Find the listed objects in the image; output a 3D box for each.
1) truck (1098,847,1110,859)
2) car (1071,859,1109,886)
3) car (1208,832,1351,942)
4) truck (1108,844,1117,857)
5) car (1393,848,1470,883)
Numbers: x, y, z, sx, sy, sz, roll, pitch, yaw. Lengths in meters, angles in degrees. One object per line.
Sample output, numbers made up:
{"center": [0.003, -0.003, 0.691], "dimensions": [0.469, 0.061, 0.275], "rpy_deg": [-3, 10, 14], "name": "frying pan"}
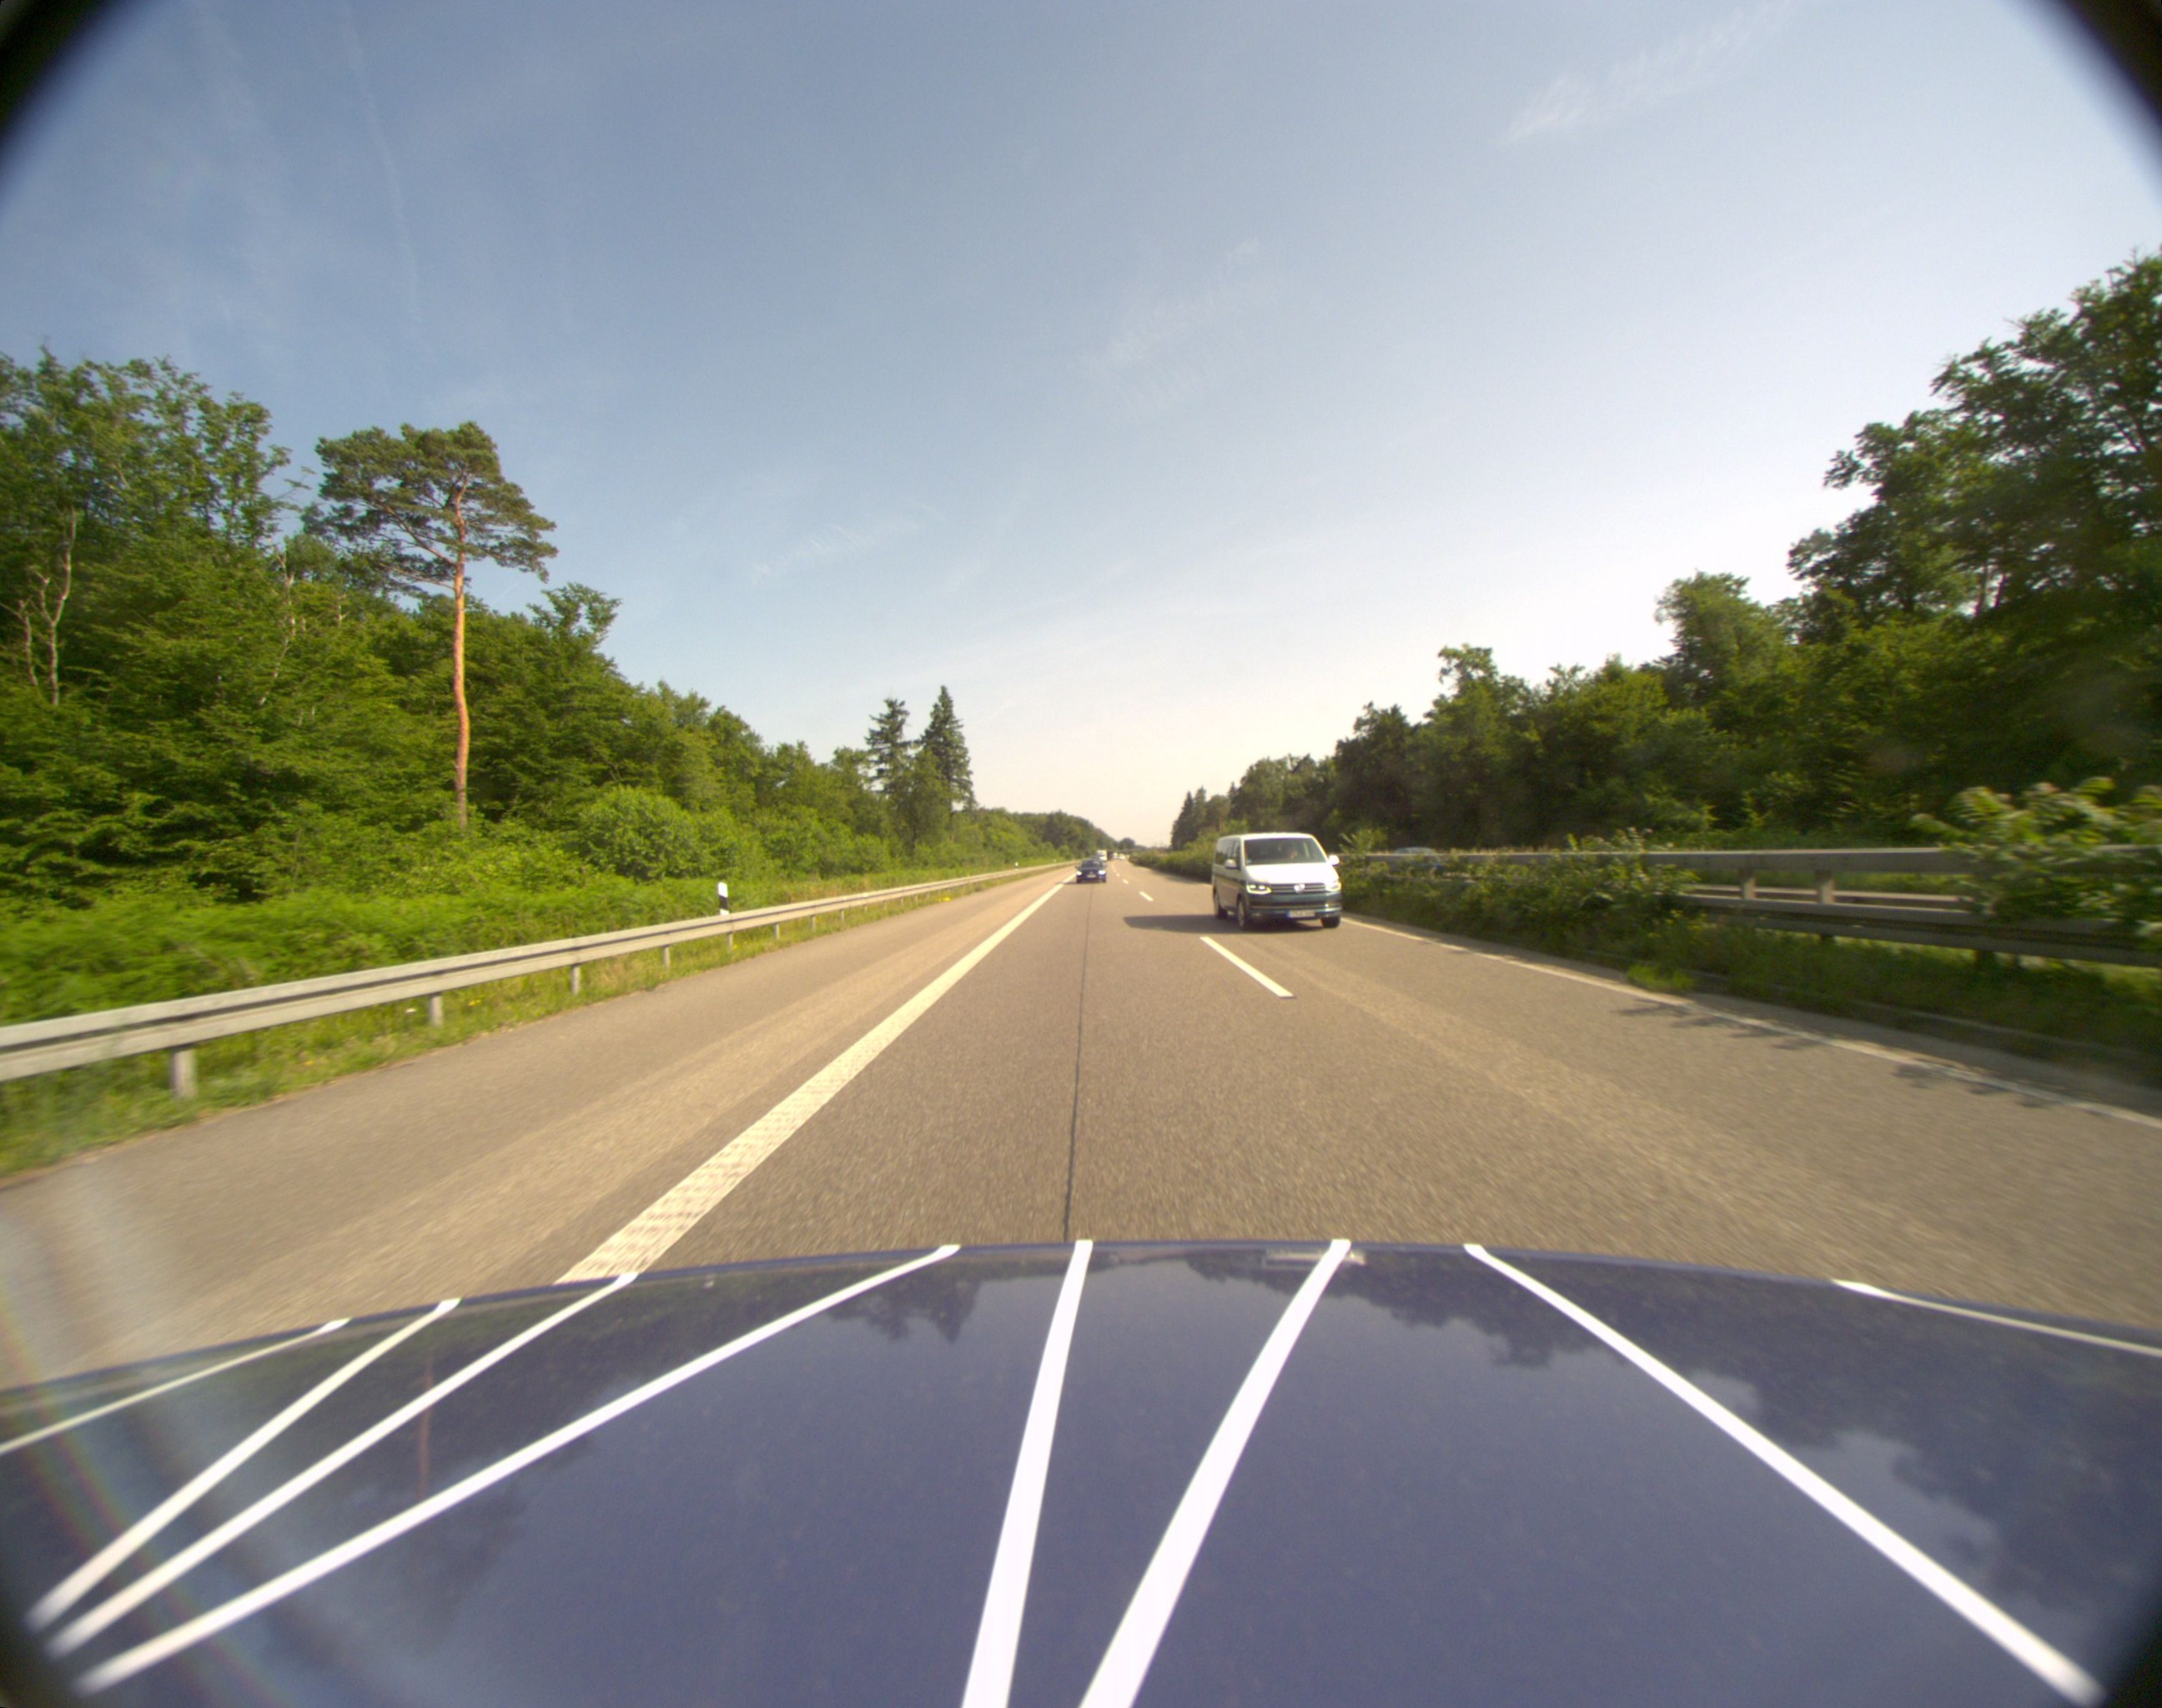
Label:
{"center": [5.936, -0.253, 194.910], "dimensions": [2.694, 3.020, 10.374], "rpy_deg": [-2, 0, 3], "name": "truck"}
{"center": [0.539, 0.980, 40.875], "dimensions": [1.788, 1.285, 3.539], "rpy_deg": [-2, 0, 4], "name": "car"}
{"center": [4.031, 0.595, 16.266], "dimensions": [1.912, 1.934, 4.707], "rpy_deg": [-2, 0, 2], "name": "car"}
{"center": [10.648, -1.123, 257.567], "dimensions": [2.694, 4.061, 12.367], "rpy_deg": [-2, 0, 3], "name": "truck"}
{"center": [15.845, 0.484, 34.575], "dimensions": [1.628, 1.463, 4.211], "rpy_deg": [-2, 0, 2], "name": "car"}
